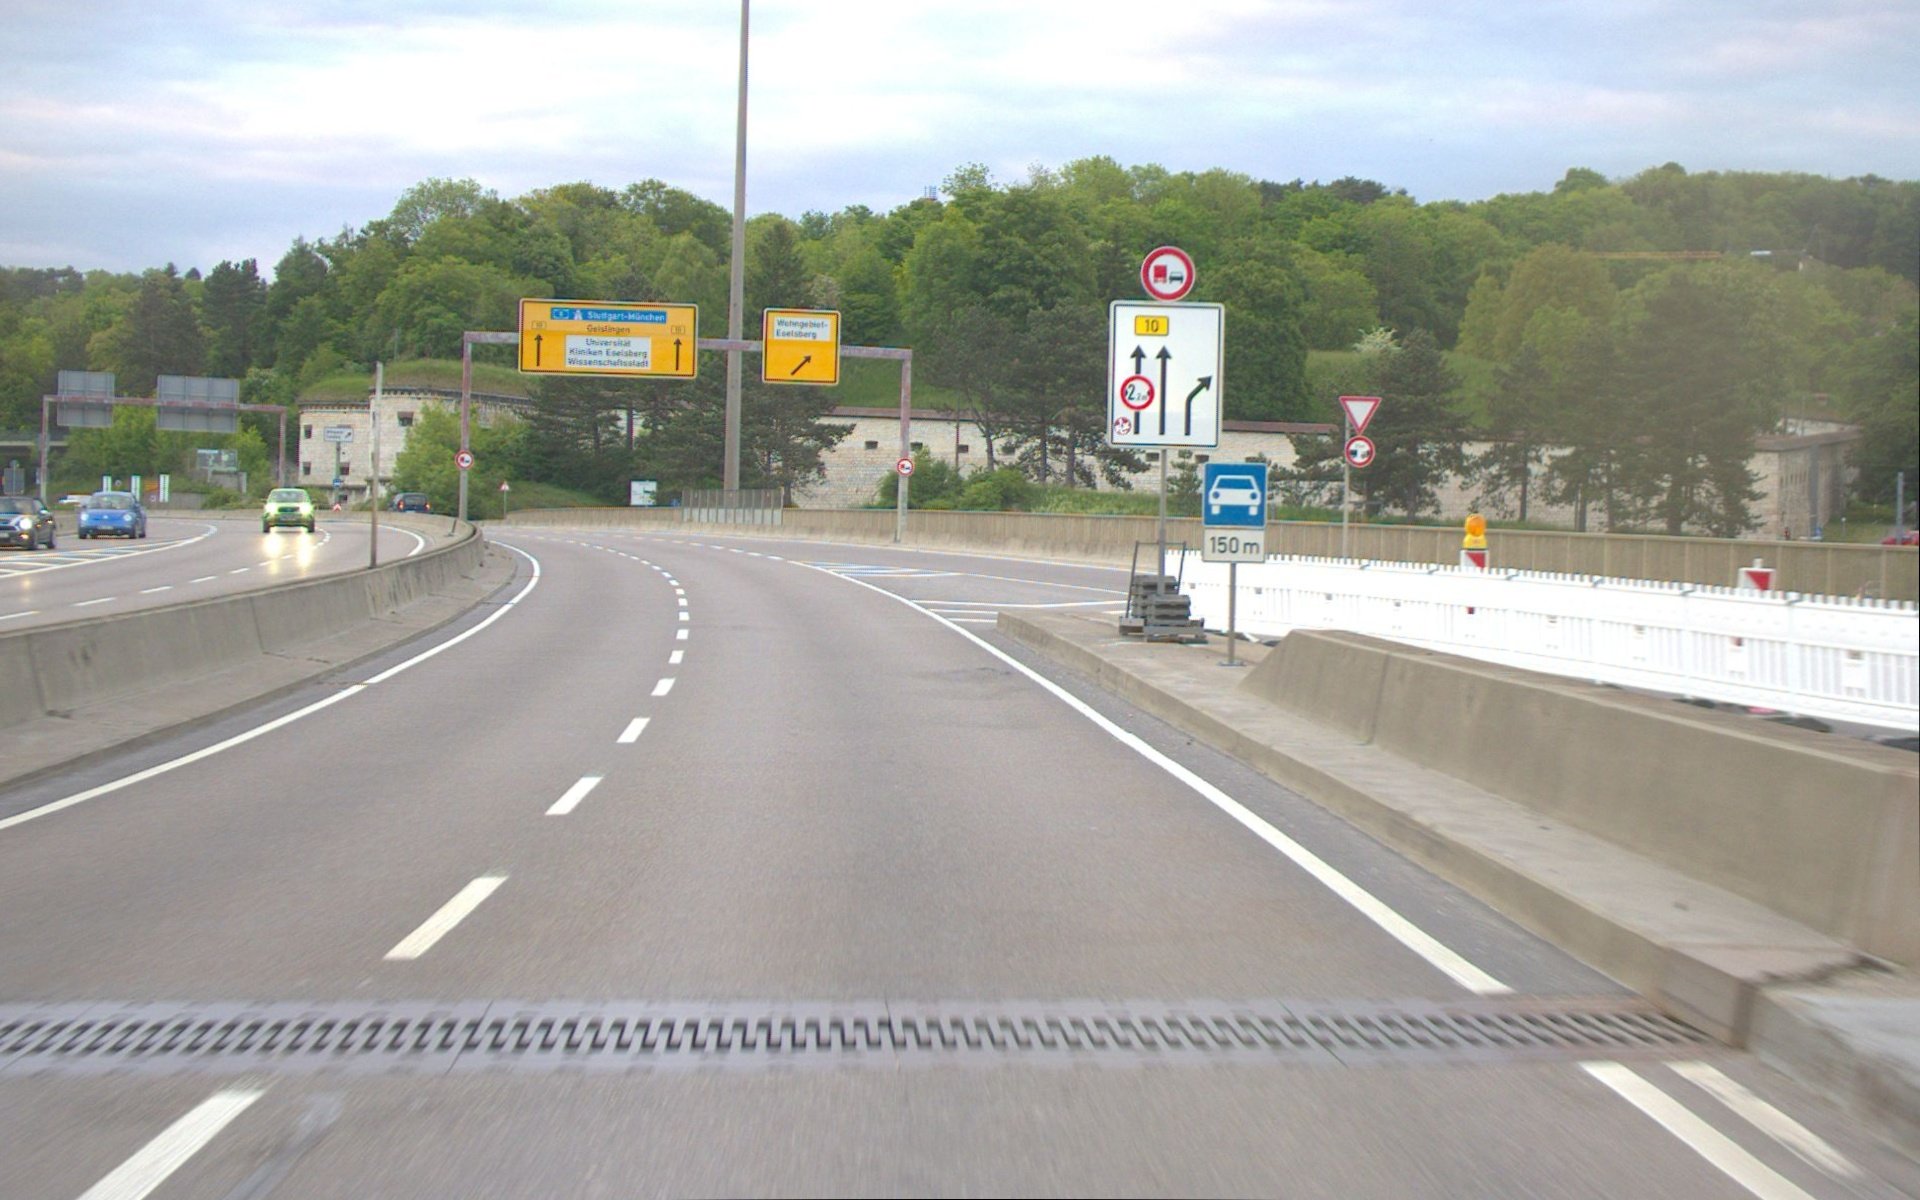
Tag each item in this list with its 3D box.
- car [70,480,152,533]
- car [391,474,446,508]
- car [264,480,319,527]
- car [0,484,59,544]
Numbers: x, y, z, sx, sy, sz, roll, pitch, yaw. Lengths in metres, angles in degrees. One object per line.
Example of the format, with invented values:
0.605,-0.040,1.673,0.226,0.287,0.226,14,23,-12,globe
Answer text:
-26.529,-2.941,107.551,1.897,1.590,4.164,1,2,-5,car
-30.162,-6.072,191.398,2.304,1.757,4.264,2,1,-18,car
-23.559,-3.410,121.230,1.710,1.489,4.082,5,1,-10,car
-24.620,-2.260,88.985,1.796,1.481,3.842,3,1,-5,car
